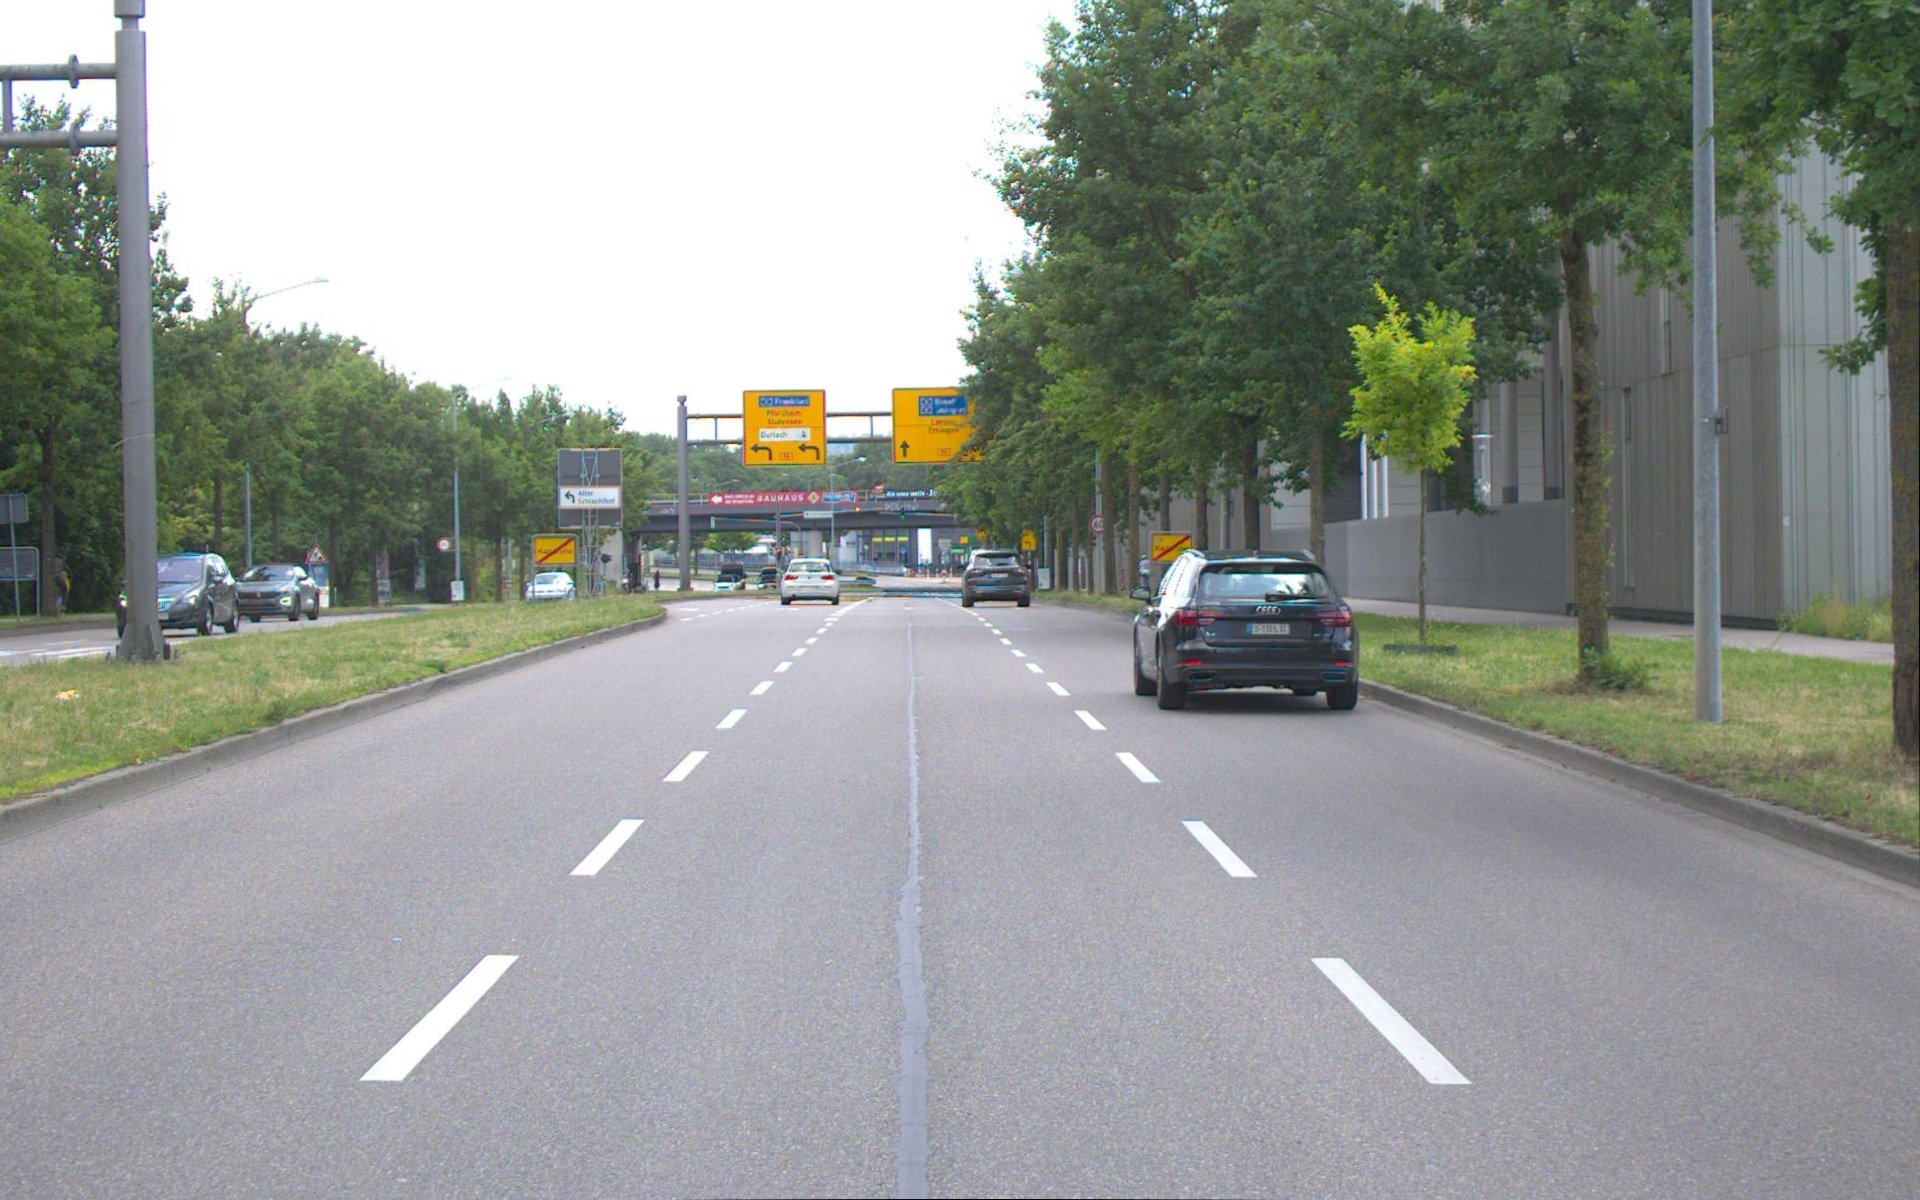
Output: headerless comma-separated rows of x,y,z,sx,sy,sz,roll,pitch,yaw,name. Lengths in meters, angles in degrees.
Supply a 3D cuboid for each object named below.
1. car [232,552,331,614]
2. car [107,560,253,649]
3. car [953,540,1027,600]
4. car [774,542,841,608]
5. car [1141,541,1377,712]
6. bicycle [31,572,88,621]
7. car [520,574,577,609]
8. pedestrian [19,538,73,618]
-17.803,-0.467,90.382,1.741,1.540,4.574,-2,1,-1,car
-14.973,0.057,66.215,1.741,1.563,4.276,-2,1,1,car
0.868,-0.867,96.982,1.993,1.620,4.309,-1,1,1,car
-4.781,-0.786,107.257,1.993,2.007,4.000,0,0,-3,car
2.694,0.220,31.730,1.683,1.458,4.000,0,0,-2,car
-23.323,-0.094,89.094,0.807,1.222,2.502,-1,1,0,bicycle
-17.007,-0.365,142.291,1.640,1.324,4.381,-1,1,2,car
-23.644,-0.569,88.954,0.970,2.007,1.249,-3,1,0,pedestrian
